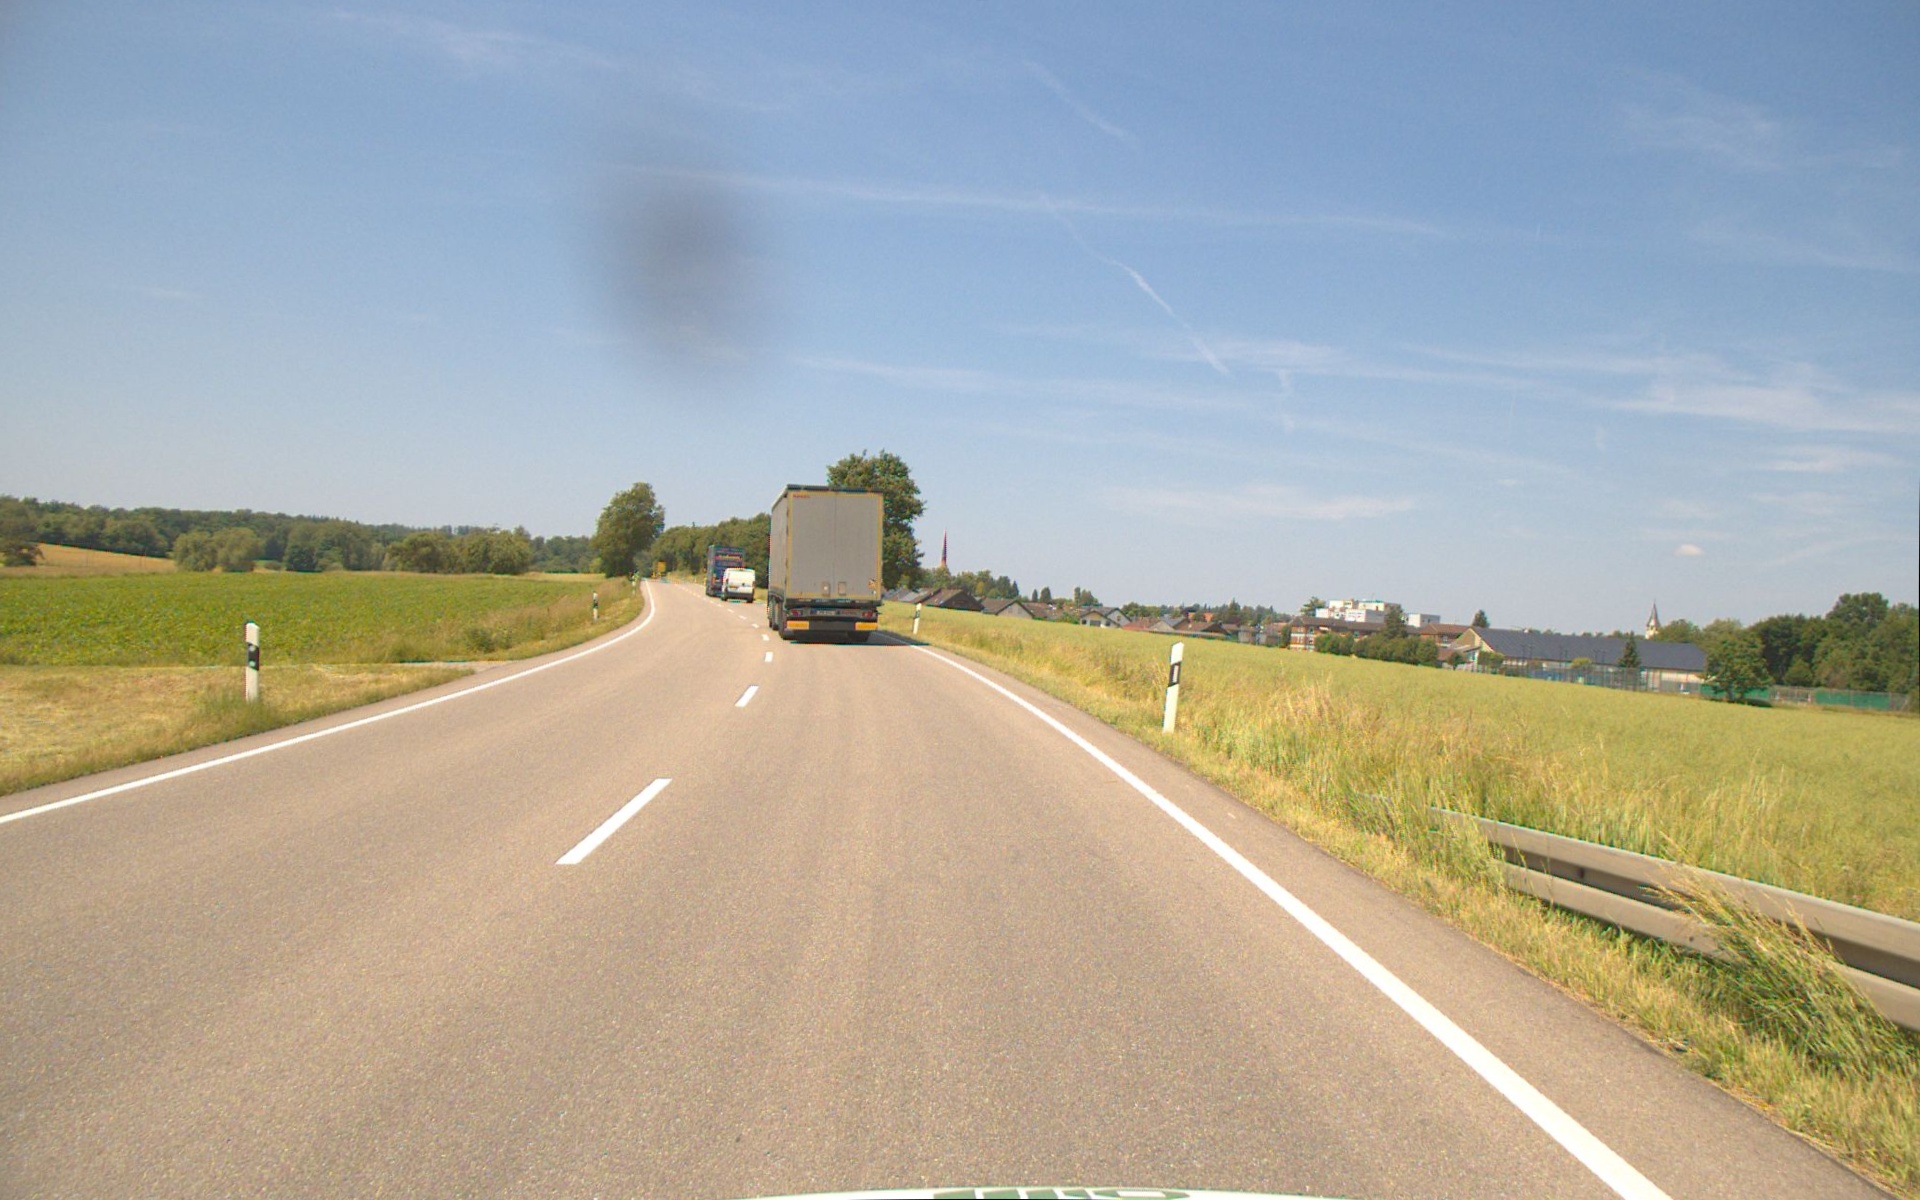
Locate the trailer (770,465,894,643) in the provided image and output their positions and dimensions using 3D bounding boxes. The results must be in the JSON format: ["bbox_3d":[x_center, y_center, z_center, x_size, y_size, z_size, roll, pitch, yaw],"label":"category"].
[{"bbox_3d":[-3.998,-1.264,48.666,2.813,4.477,13.470,1,1,-8],"label":"trailer"}]

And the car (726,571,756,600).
[{"bbox_3d":[-15.028,-0.967,113.466,1.691,1.905,3.997,1,0,-4],"label":"car"}]

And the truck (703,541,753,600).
[{"bbox_3d":[-19.213,-2.395,137.748,3.482,4.469,18.095,2,0,-7],"label":"truck"}]
